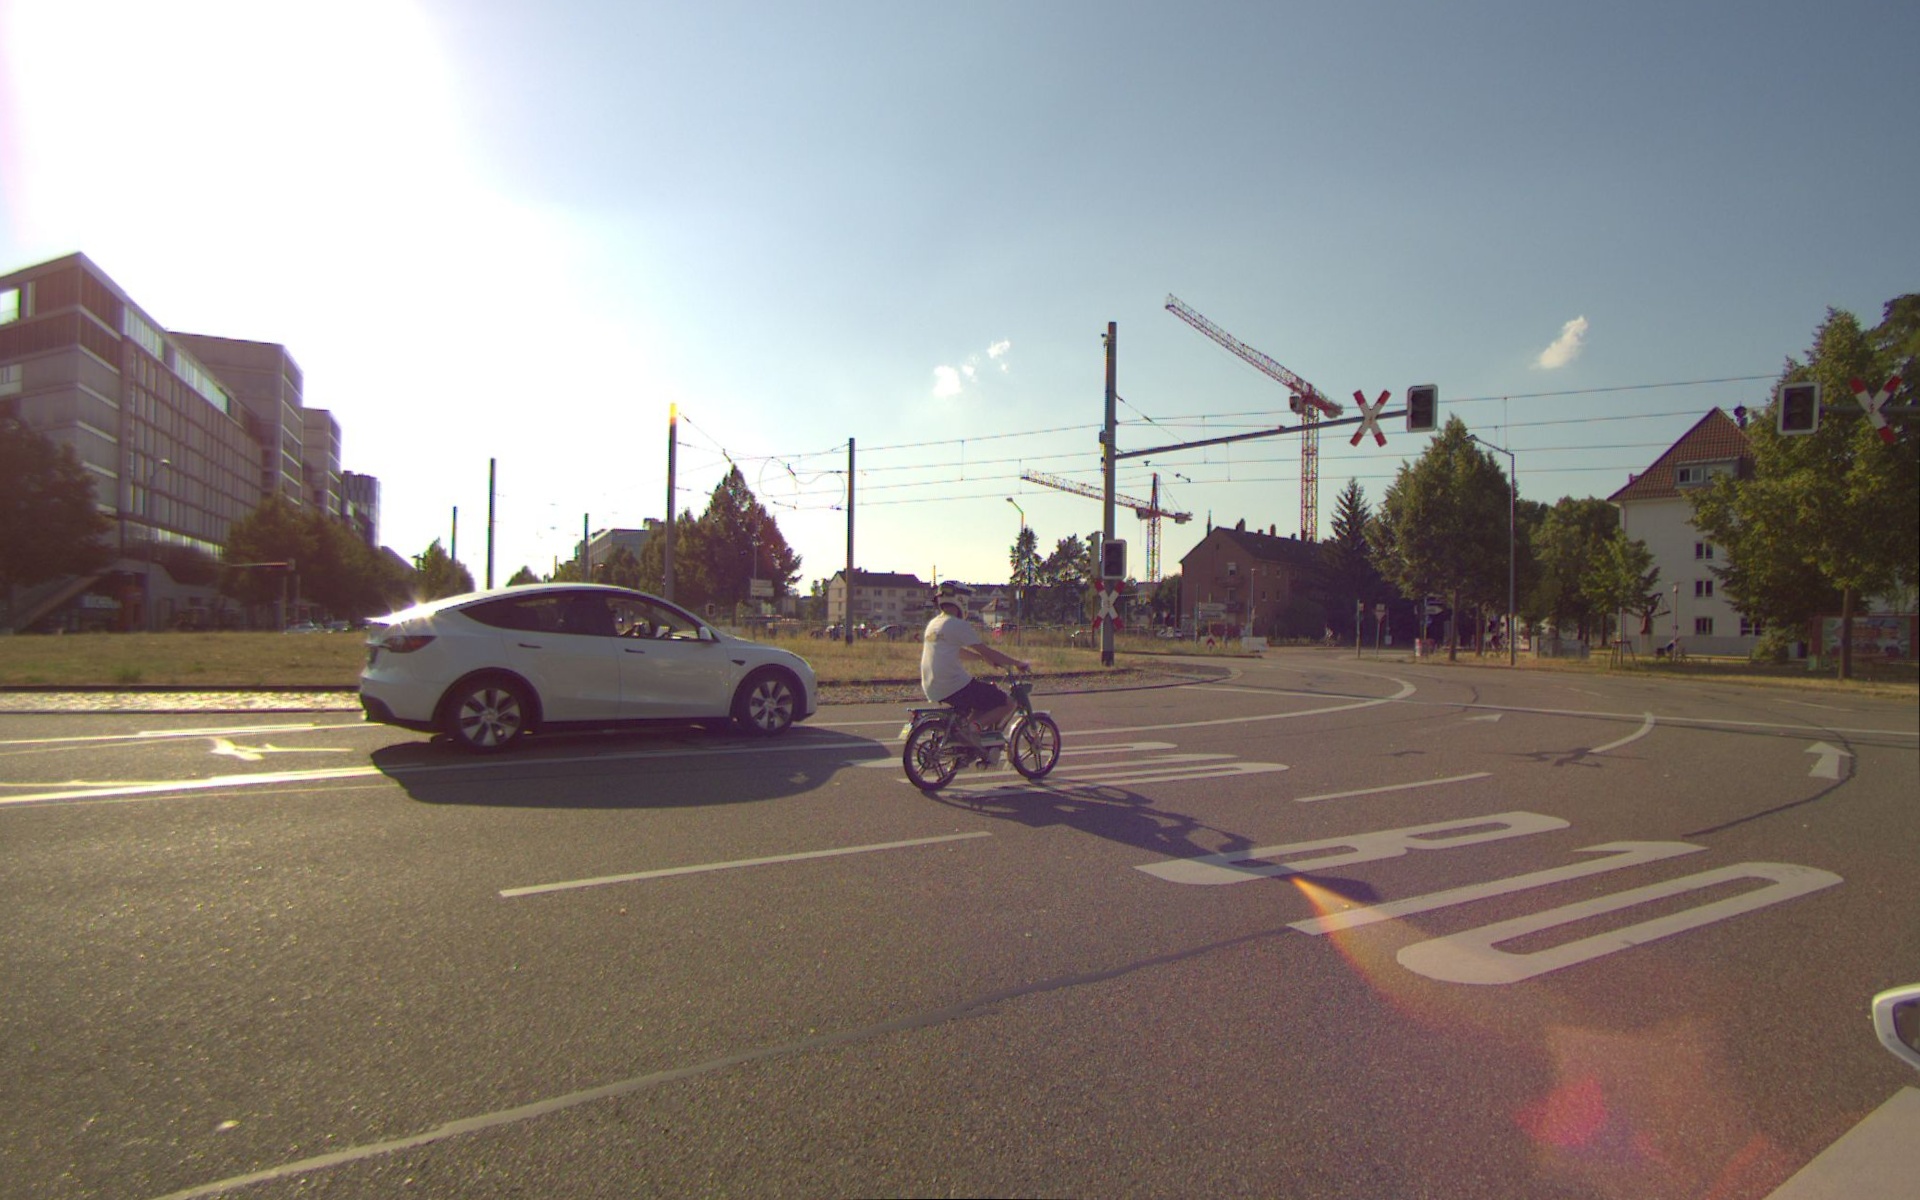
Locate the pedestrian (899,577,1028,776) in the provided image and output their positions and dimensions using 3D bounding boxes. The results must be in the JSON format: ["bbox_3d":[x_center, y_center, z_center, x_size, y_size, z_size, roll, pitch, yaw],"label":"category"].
[{"bbox_3d":[0.024,0.603,8.251,0.844,1.539,0.653,1,-1,-29],"label":"pedestrian"}]

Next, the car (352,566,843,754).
[{"bbox_3d":[-3.714,0.599,10.760,4.633,1.620,1.722,3,-1,-37],"label":"car"}]

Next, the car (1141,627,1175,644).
[{"bbox_3d":[24.540,4.450,124.678,3.762,2.040,1.665,0,-2,39],"label":"car"}]

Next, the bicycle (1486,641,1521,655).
[{"bbox_3d":[34.788,3.055,64.318,1.953,0.836,0.430,1,-1,15],"label":"bicycle"}]

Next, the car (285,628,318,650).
[{"bbox_3d":[-48.750,2.867,74.379,1.463,1.495,3.281,1,-1,-23],"label":"car"}]

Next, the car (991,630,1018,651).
[{"bbox_3d":[4.310,3.938,97.707,1.890,1.878,3.994,1,-1,-9],"label":"car"}]

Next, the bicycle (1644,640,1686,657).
[{"bbox_3d":[41.071,2.840,58.545,1.953,0.930,0.430,1,-1,15],"label":"bicycle"}]

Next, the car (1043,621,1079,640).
[{"bbox_3d":[11.280,3.386,112.540,3.762,2.040,1.665,0,-2,39],"label":"car"}]

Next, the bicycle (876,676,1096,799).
[{"bbox_3d":[0.241,1.098,8.316,1.834,0.887,0.475,2,-1,-30],"label":"bicycle"}]

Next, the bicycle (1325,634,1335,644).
[{"bbox_3d":[35.741,3.744,97.016,0.588,0.976,2.102,0,-2,29],"label":"bicycle"}]

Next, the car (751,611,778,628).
[{"bbox_3d":[-25.257,2.522,129.511,1.981,2.040,3.960,1,-1,-35],"label":"car"}]

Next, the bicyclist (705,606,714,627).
[{"bbox_3d":[-20.246,1.347,81.104,0.596,1.694,0.478,1,-1,0],"label":"bicyclist"}]

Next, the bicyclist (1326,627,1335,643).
[{"bbox_3d":[35.874,3.393,97.209,0.648,1.583,0.893,0,-2,29],"label":"bicyclist"}]

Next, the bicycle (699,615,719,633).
[{"bbox_3d":[-20.279,1.942,81.104,1.514,1.493,0.479,1,-1,-1],"label":"bicycle"}]

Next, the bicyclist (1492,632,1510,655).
[{"bbox_3d":[34.708,2.778,64.425,0.882,1.415,0.526,1,-1,15],"label":"bicyclist"}]

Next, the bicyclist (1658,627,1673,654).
[{"bbox_3d":[41.104,2.368,58.546,0.611,1.531,0.419,1,-1,15],"label":"bicyclist"}]

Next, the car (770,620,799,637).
[{"bbox_3d":[-21.423,3.435,122.680,1.981,2.040,3.960,1,-1,-35],"label":"car"}]
